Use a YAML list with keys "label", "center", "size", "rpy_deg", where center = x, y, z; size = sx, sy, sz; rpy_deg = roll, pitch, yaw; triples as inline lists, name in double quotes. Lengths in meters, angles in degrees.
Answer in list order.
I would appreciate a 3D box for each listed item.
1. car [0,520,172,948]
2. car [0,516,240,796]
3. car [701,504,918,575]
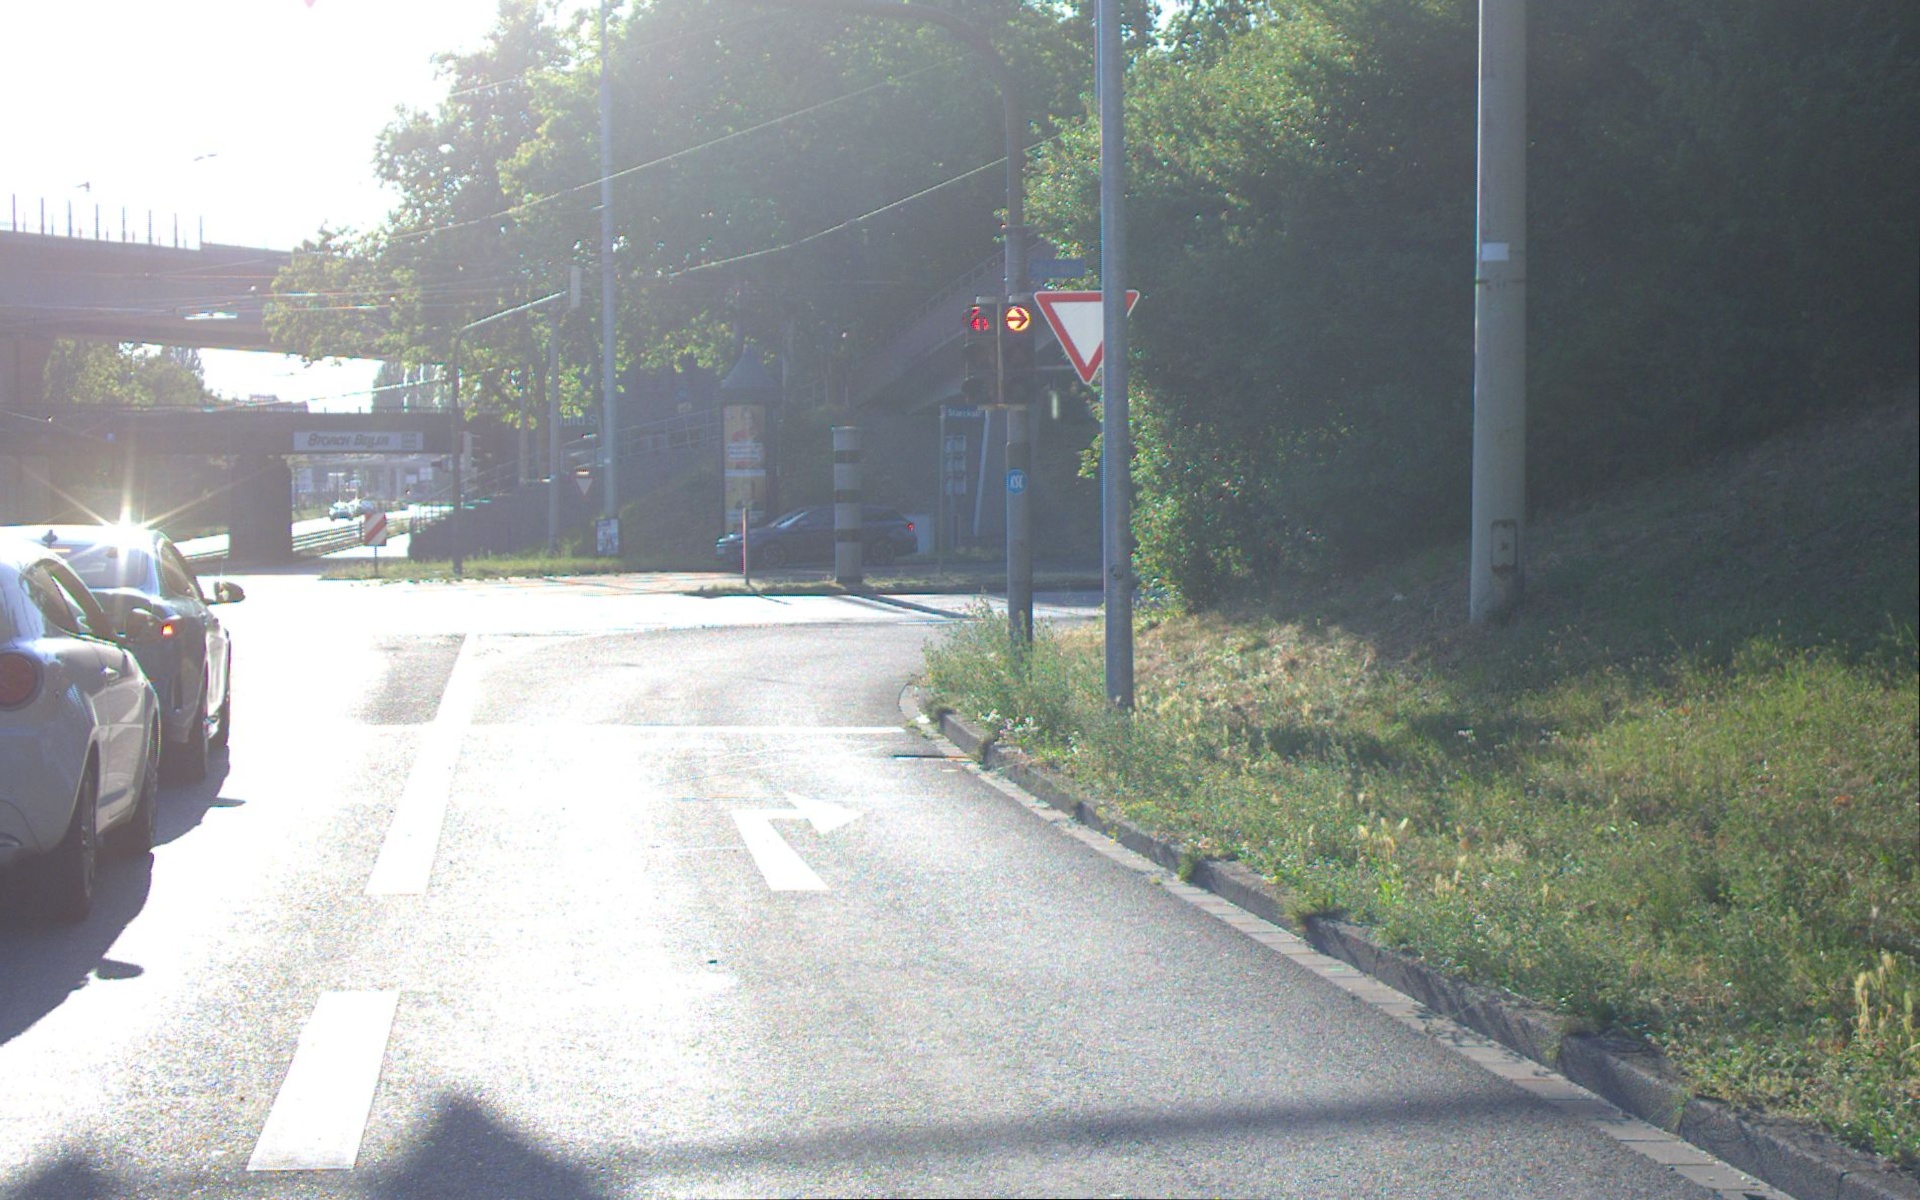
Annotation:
- label: "car"
  center: [-4.329, 0.446, 14.216]
  size: [1.736, 1.500, 4.001]
  rpy_deg: [-1, 2, -8]
- label: "car"
  center: [-5.294, 0.253, 20.448]
  size: [1.713, 1.460, 4.208]
  rpy_deg: [-1, 2, -8]
- label: "car"
  center: [-3.384, -1.359, 77.371]
  size: [4.575, 1.569, 1.694]
  rpy_deg: [0, 2, -24]
